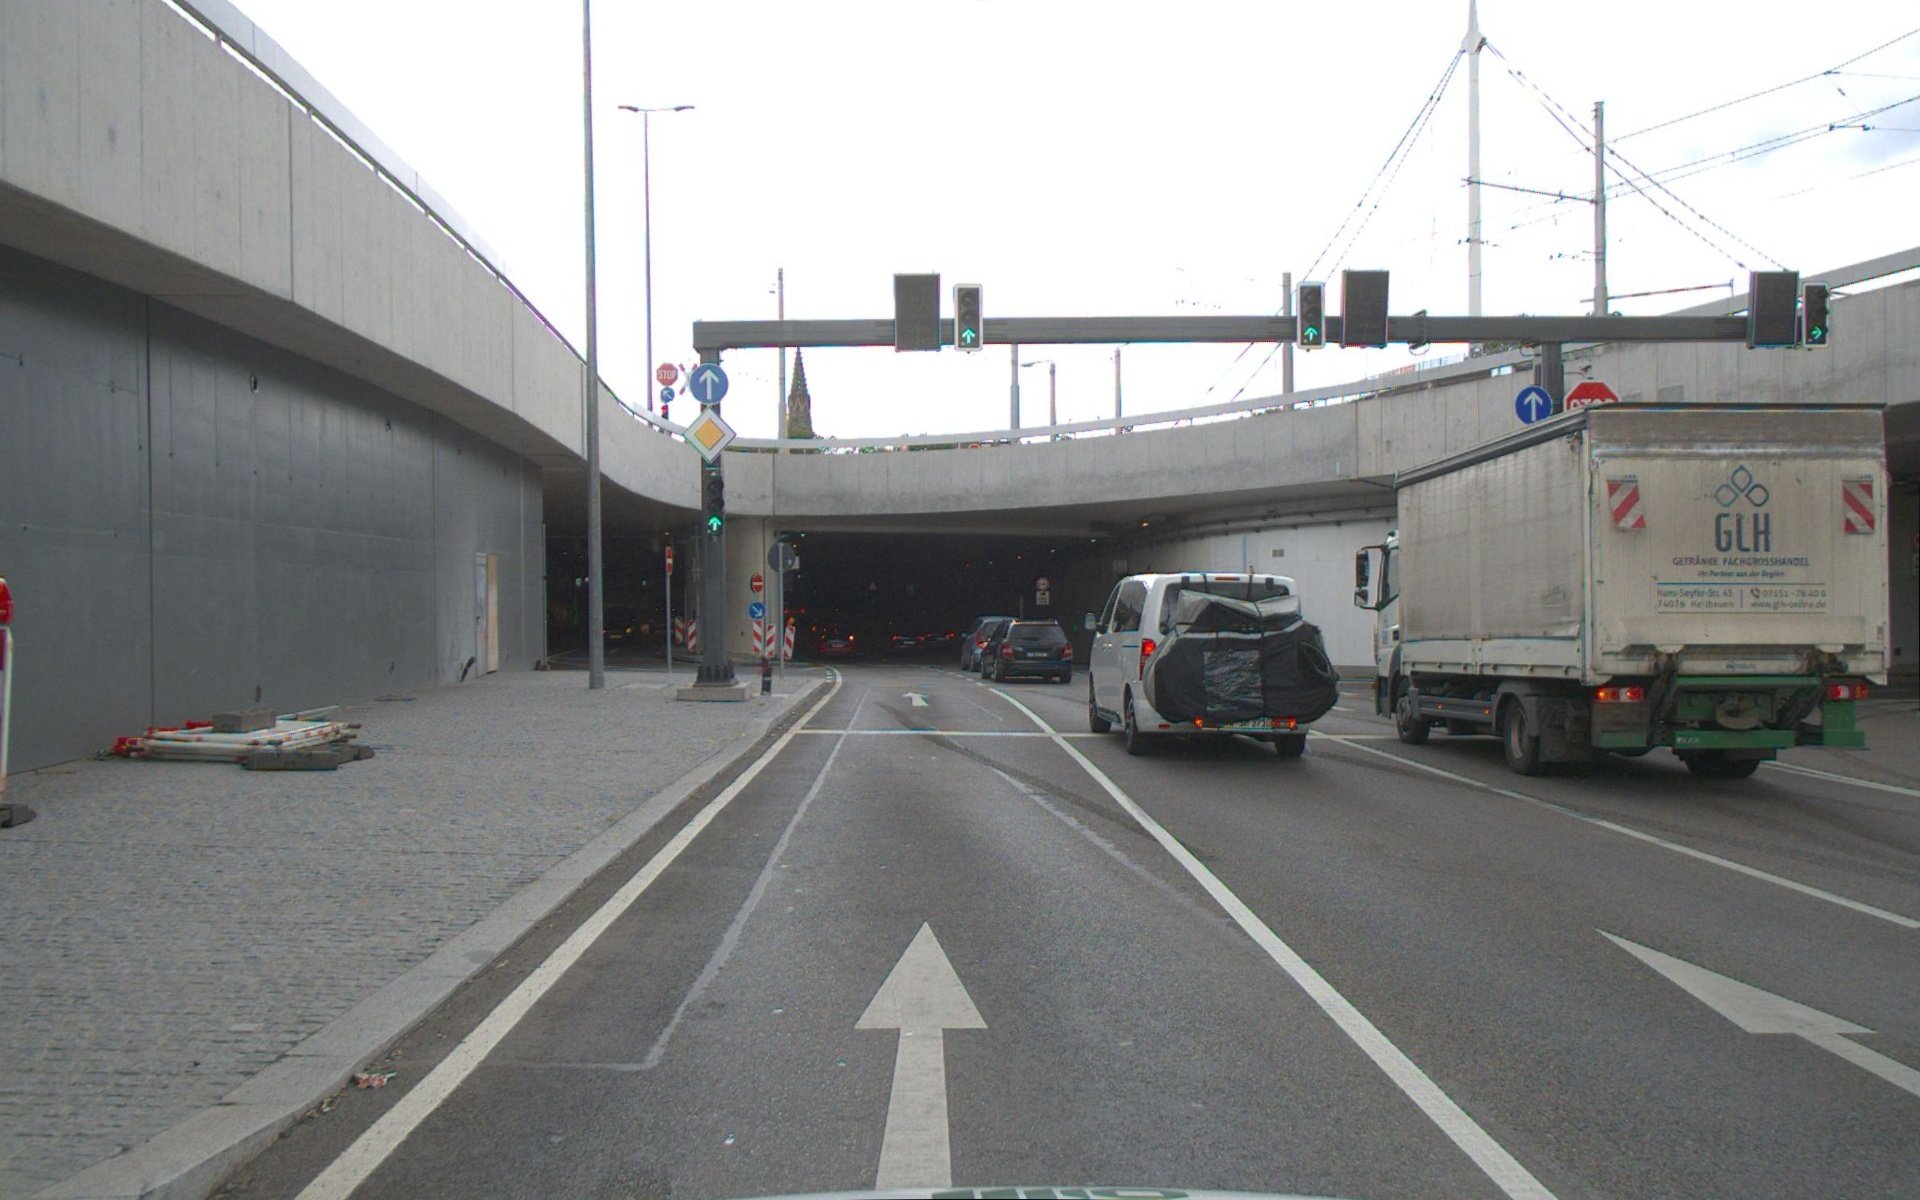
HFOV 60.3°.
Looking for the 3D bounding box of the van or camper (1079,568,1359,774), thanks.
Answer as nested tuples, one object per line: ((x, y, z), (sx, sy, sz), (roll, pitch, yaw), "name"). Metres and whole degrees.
((2.603, 0.628, 18.093), (1.953, 1.877, 5.505), (1, 1, -3), "van or camper")

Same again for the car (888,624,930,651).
((-2.429, 1.759, 78.262), (1.632, 1.269, 3.560), (0, -1, -8), "car")

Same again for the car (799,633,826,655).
((-9.008, 2.673, 100.717), (1.480, 1.269, 3.560), (0, -1, -8), "car")

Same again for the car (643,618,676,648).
((-17.995, 1.953, 99.068), (1.774, 1.632, 4.778), (-1, 1, -9), "car")

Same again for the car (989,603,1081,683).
((1.680, 1.018, 38.152), (1.782, 1.714, 3.997), (1, -2, -2), "car")

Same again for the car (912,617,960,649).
((-1.365, 1.820, 91.227), (1.954, 1.705, 4.496), (0, -1, -11), "car")

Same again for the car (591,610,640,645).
((-15.413, 1.202, 73.865), (1.639, 1.466, 4.090), (0, 0, -19), "car")

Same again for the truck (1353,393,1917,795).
((6.355, -0.049, 17.099), (2.596, 3.241, 7.423), (0, 0, -2), "truck")

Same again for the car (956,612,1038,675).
((1.031, 1.236, 48.282), (1.784, 1.608, 3.994), (3, 0, -7), "car")

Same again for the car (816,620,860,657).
((-5.194, 1.640, 70.099), (1.629, 1.514, 3.560), (0, -1, -8), "car")

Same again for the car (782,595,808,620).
((-13.903, 0.613, 139.456), (1.956, 2.049, 3.992), (0, 0, -9), "car")
